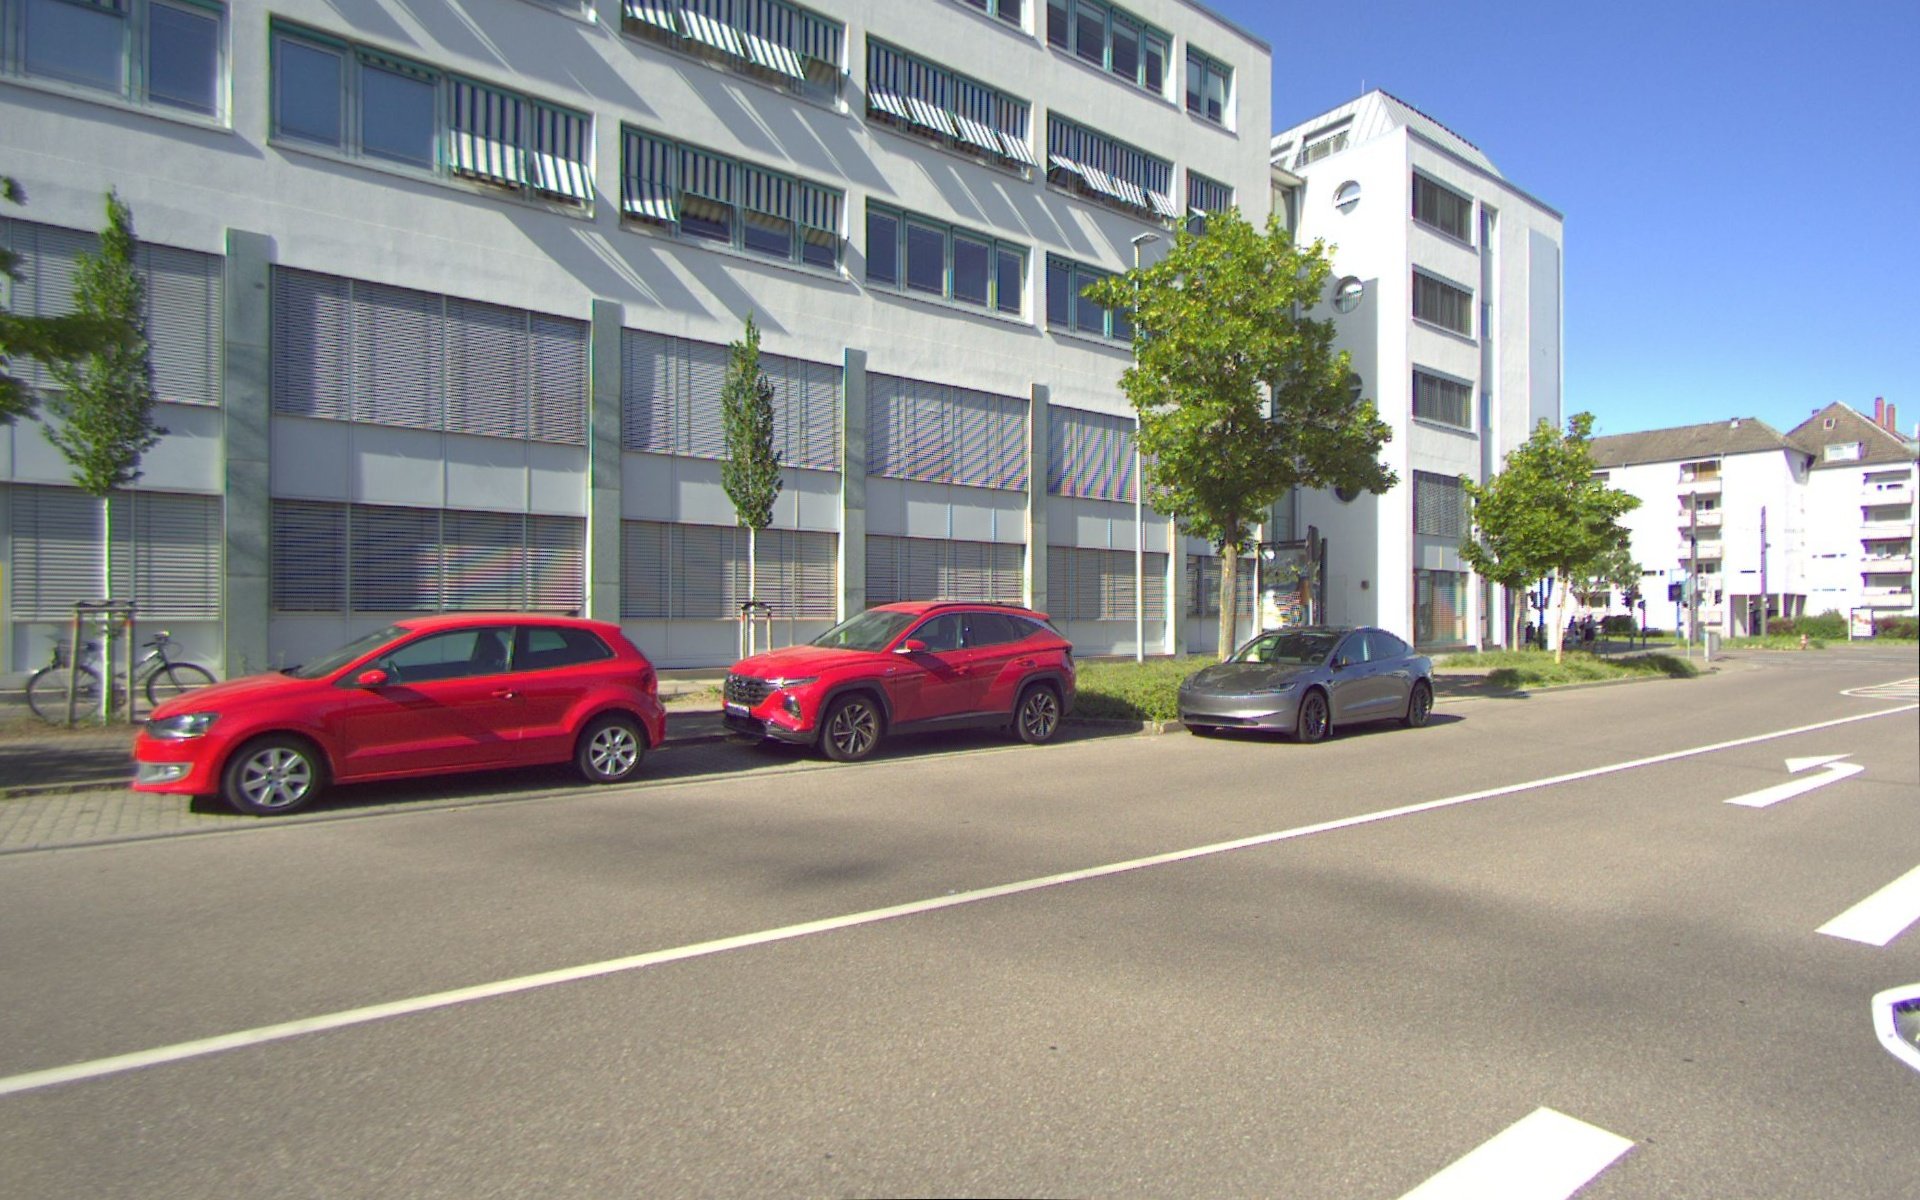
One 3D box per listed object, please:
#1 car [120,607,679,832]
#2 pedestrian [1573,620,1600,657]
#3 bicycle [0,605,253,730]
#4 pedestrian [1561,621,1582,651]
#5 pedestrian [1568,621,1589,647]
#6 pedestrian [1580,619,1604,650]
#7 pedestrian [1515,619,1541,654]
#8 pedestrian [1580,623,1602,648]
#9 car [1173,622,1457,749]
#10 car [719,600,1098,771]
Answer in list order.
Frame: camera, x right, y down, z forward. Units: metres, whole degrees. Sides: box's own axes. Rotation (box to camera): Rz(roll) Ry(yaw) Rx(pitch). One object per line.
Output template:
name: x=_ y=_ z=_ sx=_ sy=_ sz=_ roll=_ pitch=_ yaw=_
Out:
car: x=-4.566 y=0.846 z=8.548 sx=3.836 sy=1.451 sz=1.675 roll=1 pitch=1 yaw=-37
pedestrian: x=30.217 y=1.828 z=48.444 sx=1.146 sy=1.749 sz=0.803 roll=1 pitch=-1 yaw=-42
bicycle: x=-9.781 y=0.777 z=11.919 sx=2.207 sy=1.365 sz=0.705 roll=1 pitch=-2 yaw=-32
pedestrian: x=36.680 y=2.155 z=60.260 sx=1.146 sy=1.749 sz=0.803 roll=1 pitch=-1 yaw=-42
pedestrian: x=42.308 y=2.298 z=68.692 sx=0.797 sy=1.749 sz=1.155 roll=0 pitch=-1 yaw=5
pedestrian: x=36.854 y=2.028 z=58.574 sx=1.146 sy=1.794 sz=0.912 roll=1 pitch=-1 yaw=-42
pedestrian: x=28.464 y=1.816 z=50.368 sx=1.146 sy=1.749 sz=0.803 roll=1 pitch=-1 yaw=-42
pedestrian: x=43.118 y=2.420 z=68.641 sx=0.797 sy=1.749 sz=1.155 roll=0 pitch=-1 yaw=5
car: x=5.008 y=1.063 z=13.864 sx=4.510 sy=1.488 sz=1.674 roll=1 pitch=-2 yaw=-40
car: x=-0.473 y=0.878 z=11.801 sx=4.274 sy=1.628 sz=1.674 roll=1 pitch=1 yaw=-39
